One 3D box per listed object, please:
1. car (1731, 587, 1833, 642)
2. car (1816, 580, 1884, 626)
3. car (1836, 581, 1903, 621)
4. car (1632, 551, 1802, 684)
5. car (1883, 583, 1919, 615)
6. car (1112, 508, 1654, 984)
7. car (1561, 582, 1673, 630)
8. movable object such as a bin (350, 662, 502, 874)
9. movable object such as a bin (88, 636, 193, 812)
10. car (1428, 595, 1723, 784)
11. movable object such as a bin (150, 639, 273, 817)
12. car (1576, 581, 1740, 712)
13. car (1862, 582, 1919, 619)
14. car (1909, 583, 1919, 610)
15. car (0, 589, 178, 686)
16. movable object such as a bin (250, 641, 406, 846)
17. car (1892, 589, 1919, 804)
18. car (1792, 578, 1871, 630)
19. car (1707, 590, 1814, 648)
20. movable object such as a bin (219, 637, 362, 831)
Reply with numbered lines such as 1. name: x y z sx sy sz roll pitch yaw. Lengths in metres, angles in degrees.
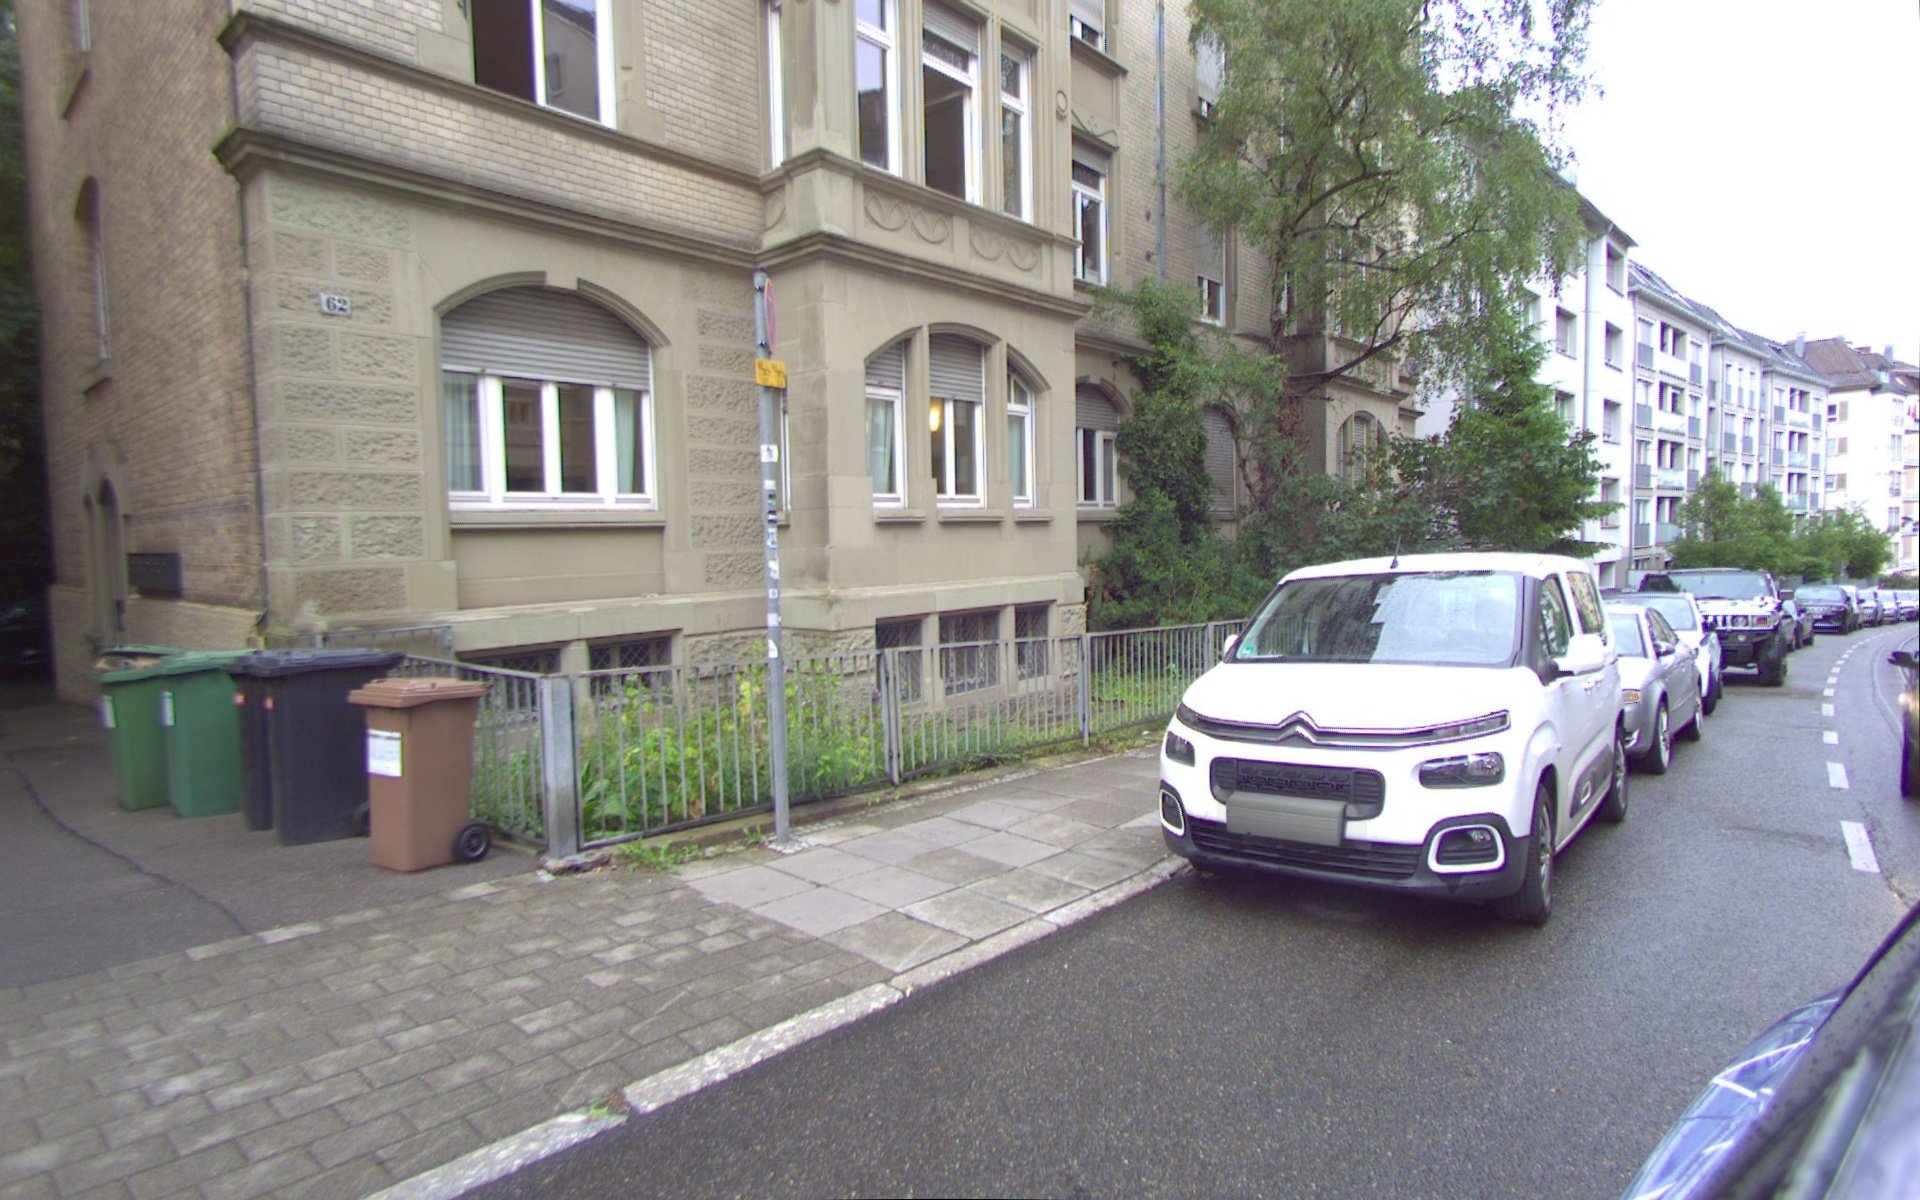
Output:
1. car: 23.663 0.348 29.081 4.535 1.455 1.795 -1 1 -45
2. car: 37.180 0.081 42.262 4.398 1.817 1.780 -1 2 -44
3. car: 41.395 -0.009 46.040 4.608 1.676 1.834 -1 2 -43
4. car: 13.803 0.246 18.310 2.126 2.039 5.272 -1 0 40
5. car: 49.802 -0.079 53.092 1.975 1.604 4.495 2 2 43
6. car: 2.835 0.528 6.081 1.795 1.787 4.399 -1 0 40
7. car: 20.847 0.168 32.068 4.079 1.444 1.816 0 0 -39
8. movable object such as a bin: -2.675 0.807 5.078 0.425 0.931 0.529 3 2 38
9. movable object such as a bin: -5.604 0.818 6.920 0.518 1.116 0.471 -3 -1 42
10. car: 6.265 0.686 10.047 1.747 1.418 4.411 -1 0 41
11. movable object such as a bin: -4.927 0.812 6.663 0.495 1.075 0.547 -3 -1 41
12. car: 9.721 0.544 13.998 1.558 1.565 3.533 -1 0 40
13. car: 45.605 -0.015 49.505 4.587 1.648 1.834 -1 2 -44
14. car: 57.124 -0.200 59.161 4.704 1.534 1.862 -1 2 -40
15. car: -17.196 0.656 18.808 3.933 1.529 1.796 7 -1 -45
16. movable object such as a bin: -3.599 0.775 5.765 0.653 1.043 0.528 -1 -1 -43
17. car: 8.498 0.668 7.852 1.734 1.472 3.940 2 2 41
18. car: 32.980 0.091 38.241 1.943 1.817 4.743 1 2 45
19. car: 20.407 0.432 25.743 3.819 1.355 1.679 -1 1 -44
20. movable object such as a bin: -4.076 0.779 6.168 0.498 1.075 0.600 -3 -1 41
